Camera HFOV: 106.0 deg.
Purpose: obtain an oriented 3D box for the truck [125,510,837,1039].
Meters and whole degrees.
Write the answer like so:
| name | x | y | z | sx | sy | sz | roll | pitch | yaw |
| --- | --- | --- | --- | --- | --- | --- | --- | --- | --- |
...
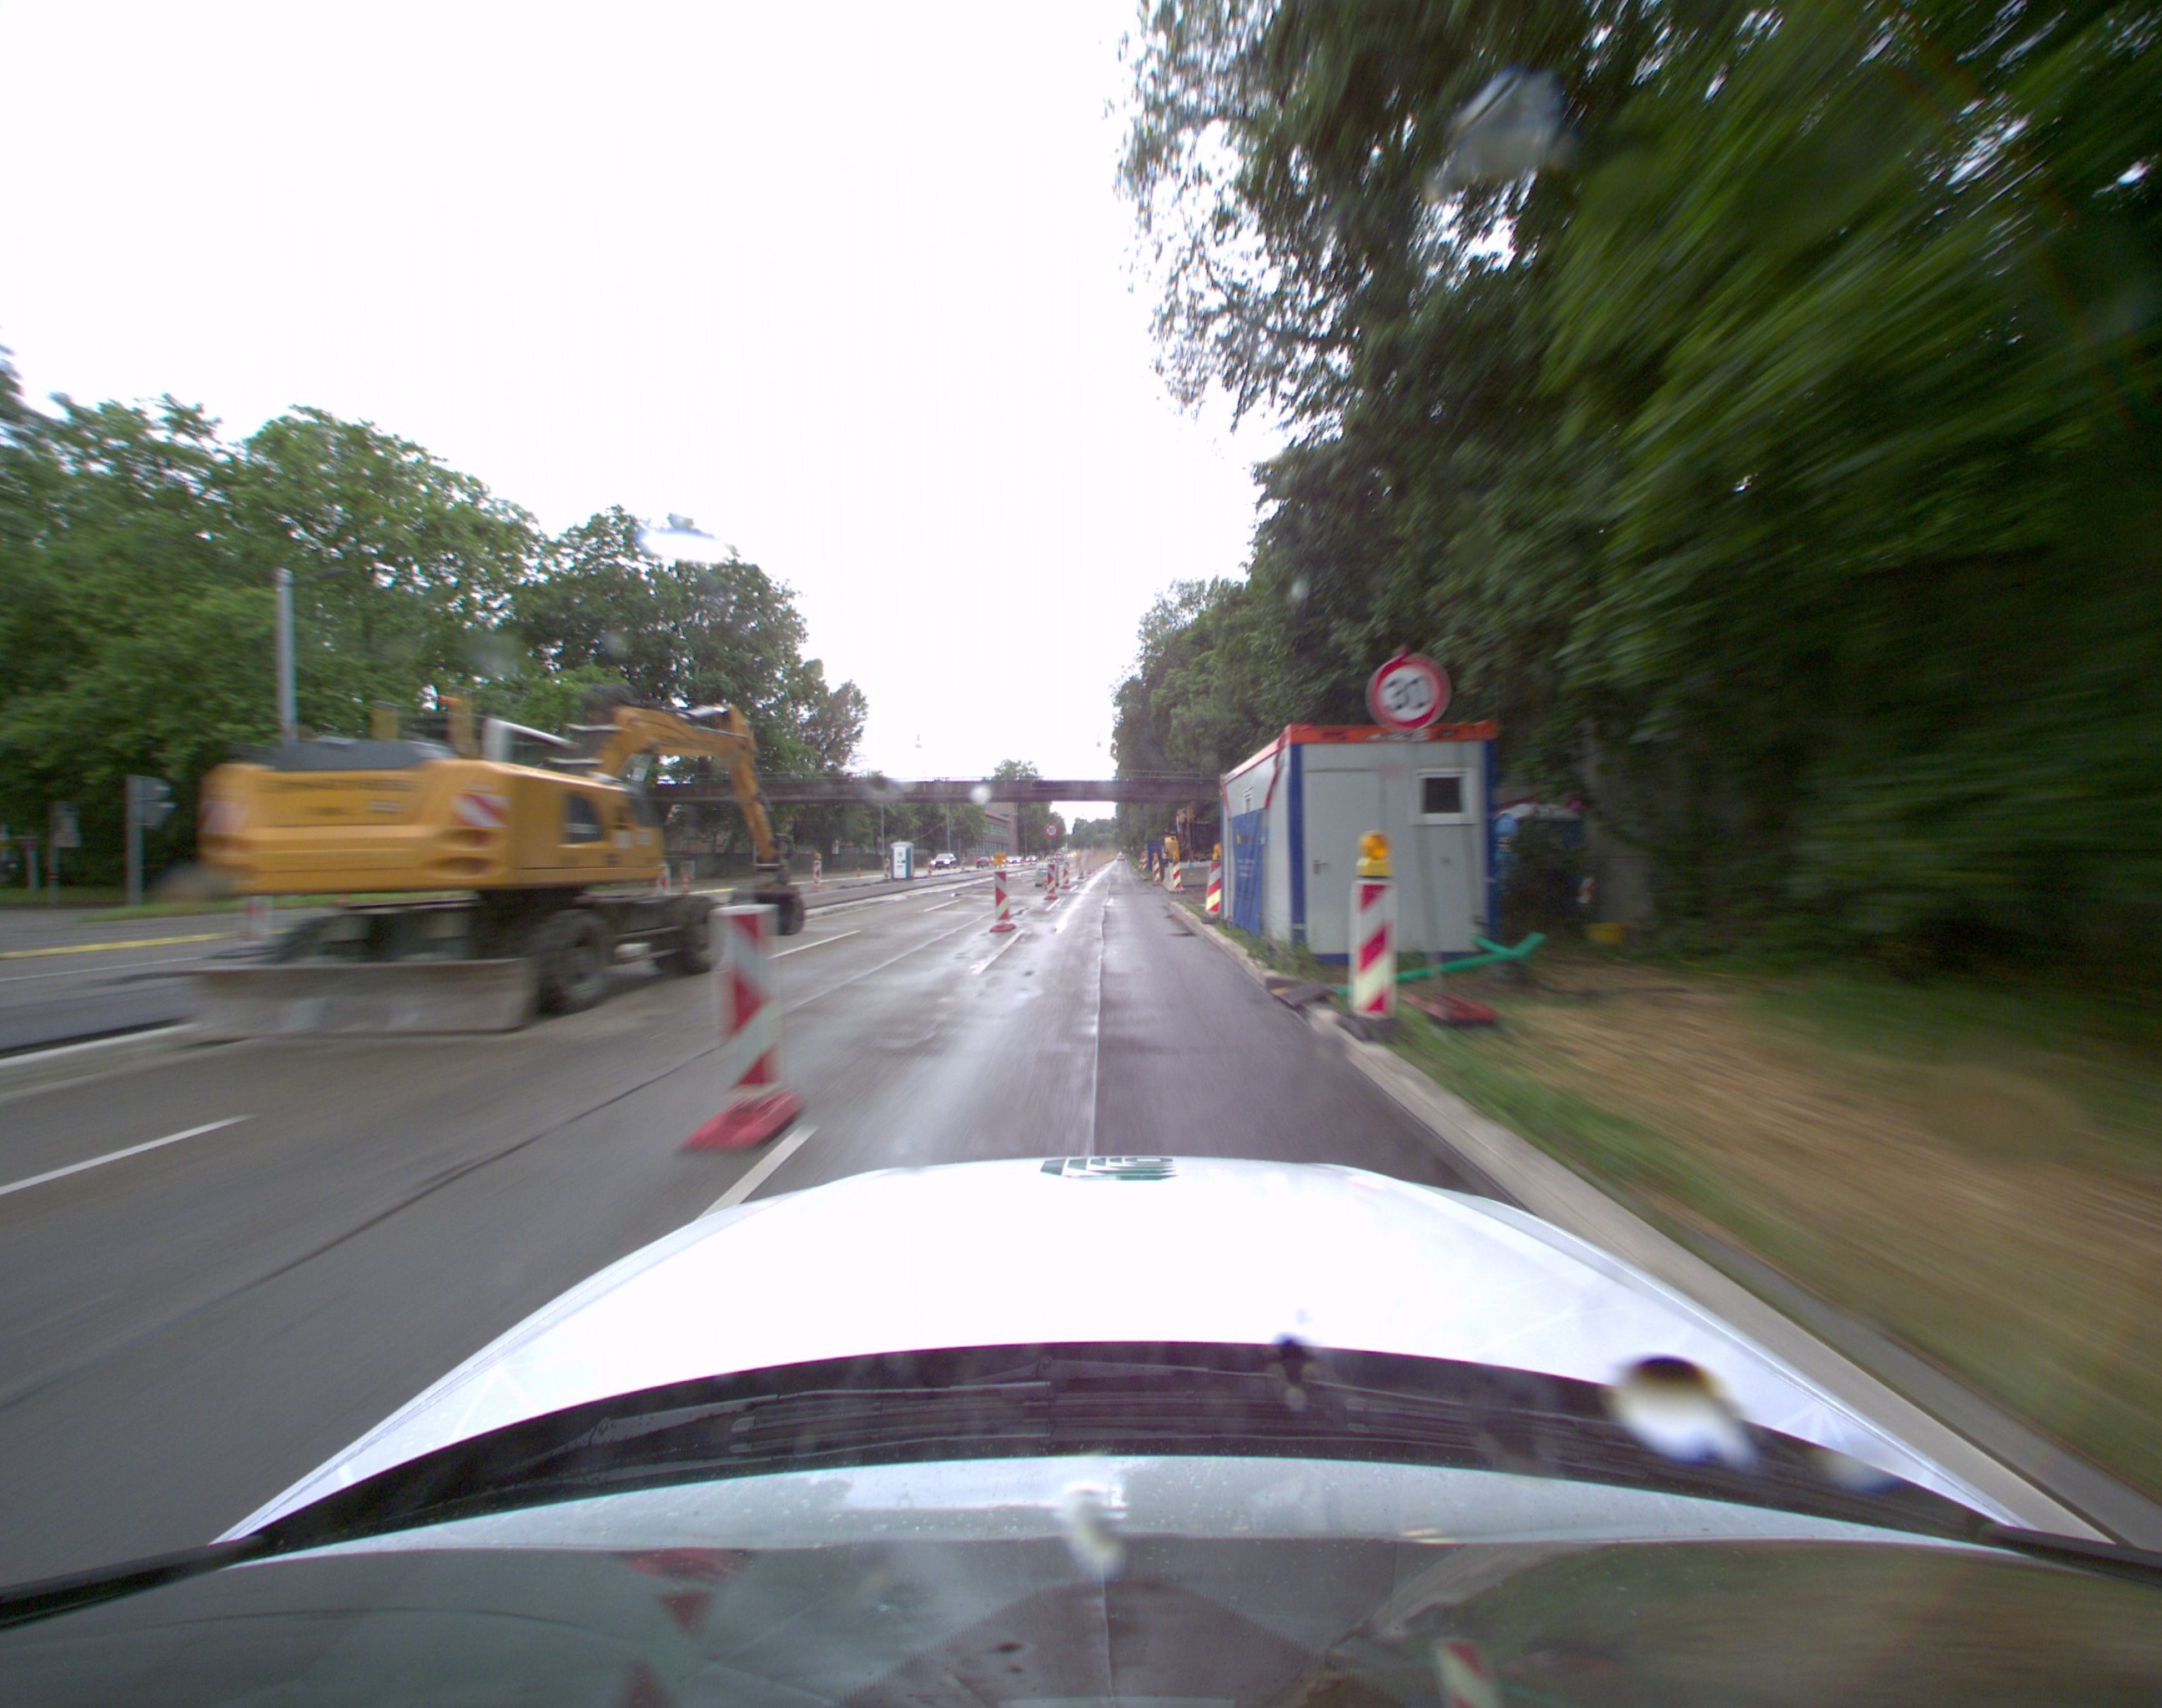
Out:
| name | x | y | z | sx | sy | sz | roll | pitch | yaw |
| --- | --- | --- | --- | --- | --- | --- | --- | --- | --- |
| truck | -6.449 | -0.631 | 12.003 | 2.890 | 4.259 | 10.745 | 0 | 0 | -2 |

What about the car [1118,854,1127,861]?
| name | x | y | z | sx | sy | sz | roll | pitch | yaw |
| --- | --- | --- | --- | --- | --- | --- | --- | --- | --- |
| car | 9.445 | 0.836 | 185.451 | 1.986 | 1.640 | 4.002 | -2 | -1 | 2 |

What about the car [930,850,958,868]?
| name | x | y | z | sx | sy | sz | roll | pitch | yaw |
| --- | --- | --- | --- | --- | --- | --- | --- | --- | --- |
| car | -14.665 | 0.556 | 87.286 | 1.962 | 1.806 | 4.612 | -2 | 0 | 3 |
